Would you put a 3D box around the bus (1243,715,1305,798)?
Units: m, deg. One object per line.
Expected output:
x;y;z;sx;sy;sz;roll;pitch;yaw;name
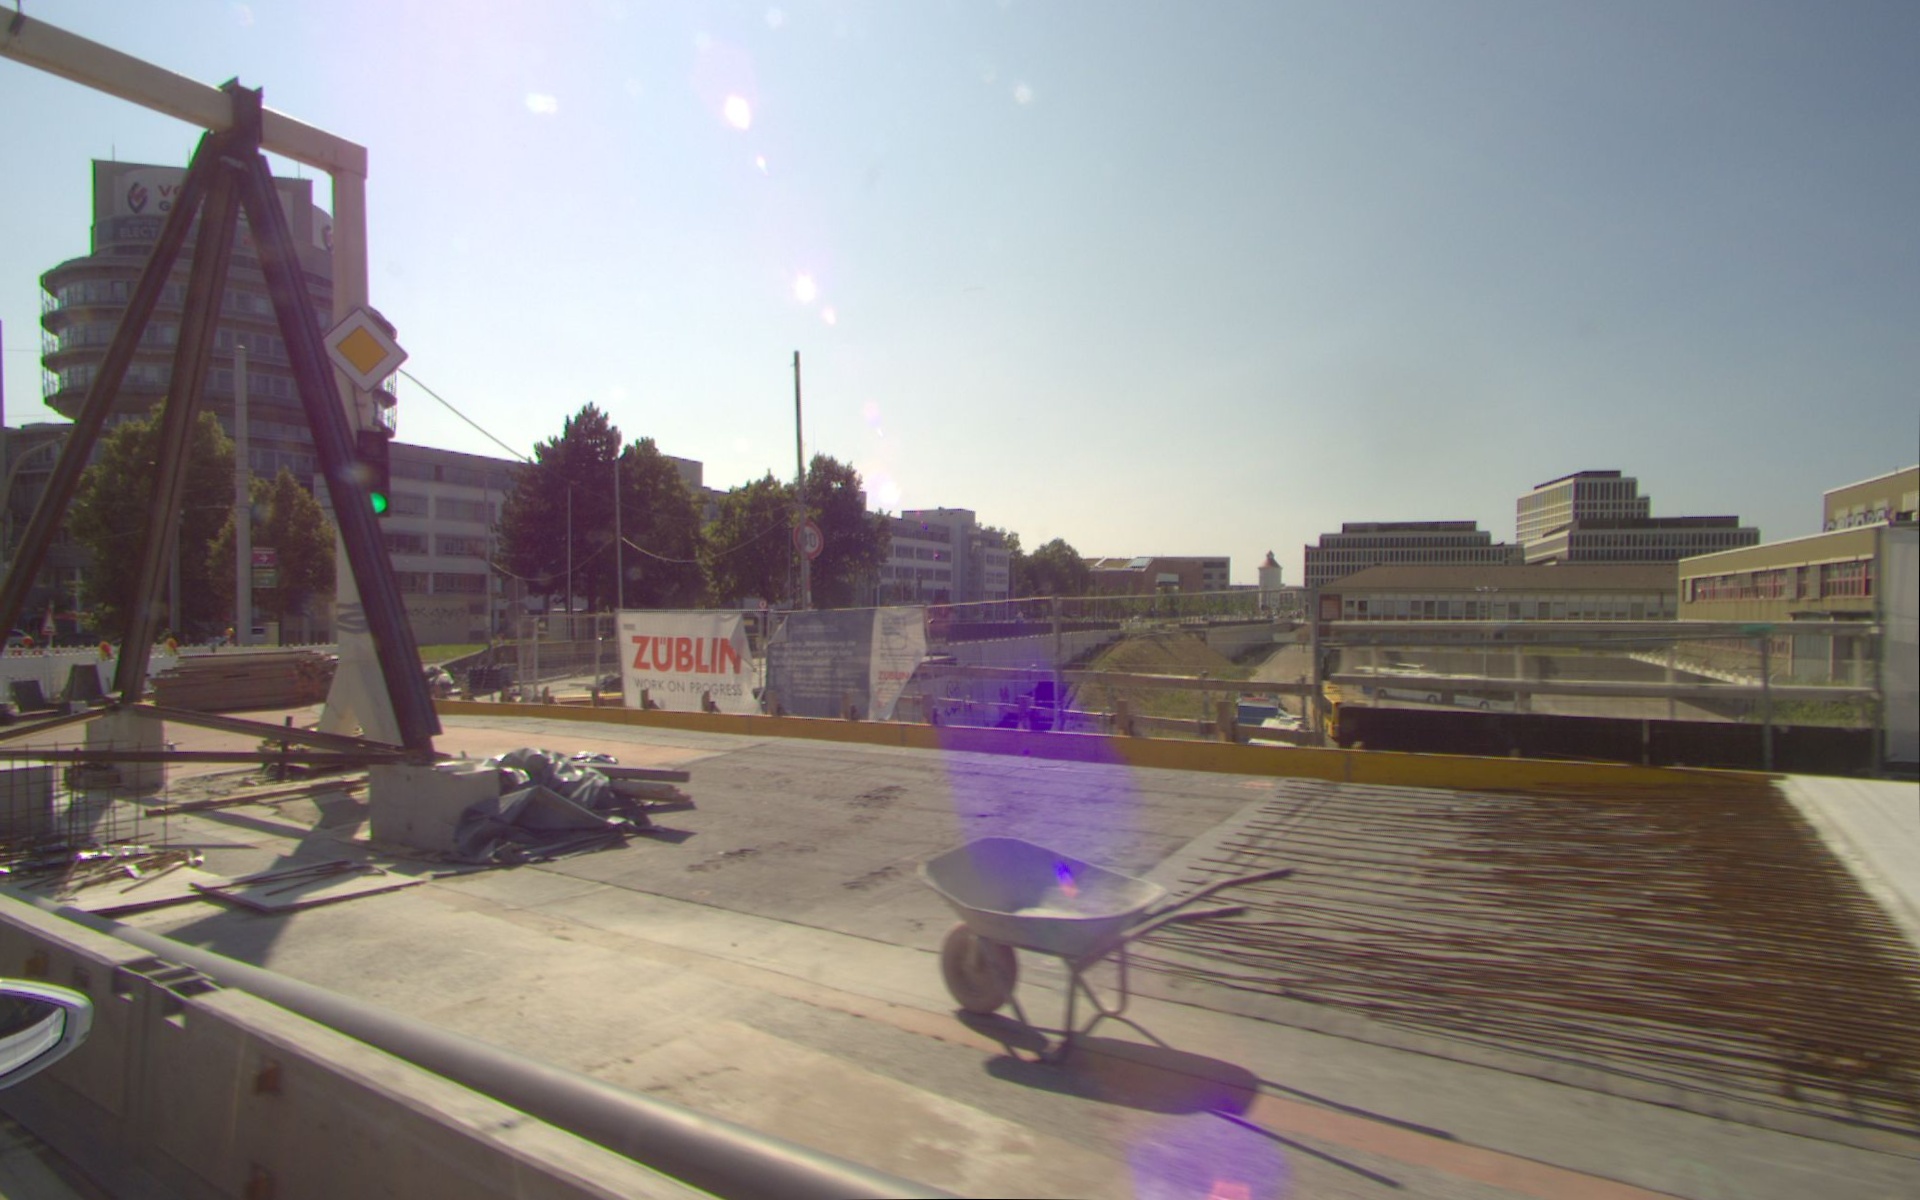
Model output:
16.846;8.053;53.217;2.569;2.868;11.820;1;-1;20;bus

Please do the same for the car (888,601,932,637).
-4.305;1.705;87.930;2.302;2.924;5.968;1;-1;13;car

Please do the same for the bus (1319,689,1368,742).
29.171;8.681;76.515;3.177;3.027;10.998;1;-1;20;bus

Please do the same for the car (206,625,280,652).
-50.084;2.686;69.991;1.656;1.821;3.808;1;-1;32;car

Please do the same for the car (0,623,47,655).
-56.351;2.256;58.713;1.656;1.821;3.808;1;-1;32;car
